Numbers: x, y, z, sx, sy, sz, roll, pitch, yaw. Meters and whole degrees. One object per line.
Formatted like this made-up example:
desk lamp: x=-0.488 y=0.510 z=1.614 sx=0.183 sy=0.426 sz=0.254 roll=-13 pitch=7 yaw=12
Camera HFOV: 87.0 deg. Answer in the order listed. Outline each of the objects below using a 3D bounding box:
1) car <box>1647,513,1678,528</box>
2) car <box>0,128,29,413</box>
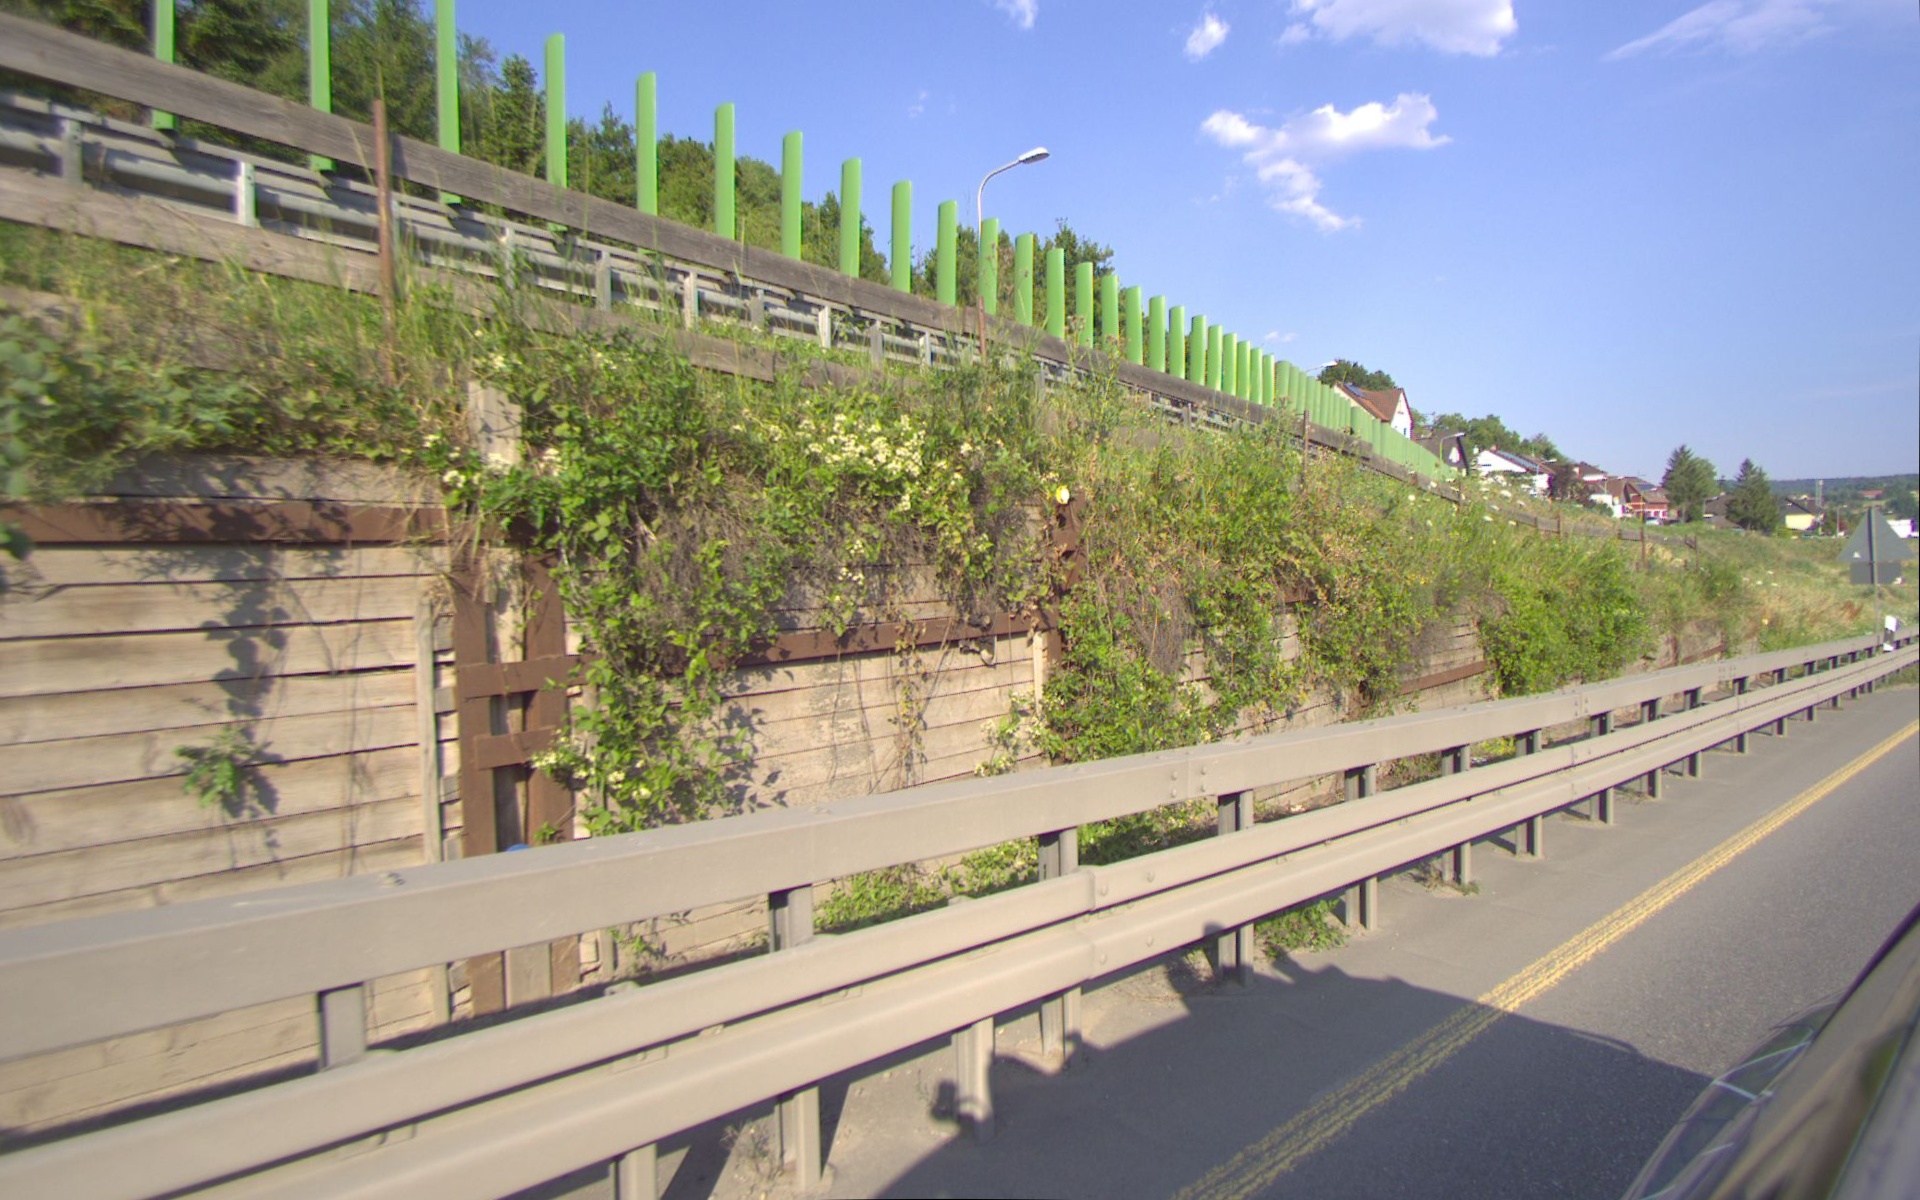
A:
car: x=79.670 y=-9.038 z=114.763 sx=3.930 sy=1.460 sz=1.997 roll=-1 pitch=1 yaw=-41
car: x=-8.221 y=-2.130 z=5.409 sx=1.695 sy=1.678 sz=4.583 roll=1 pitch=3 yaw=40
